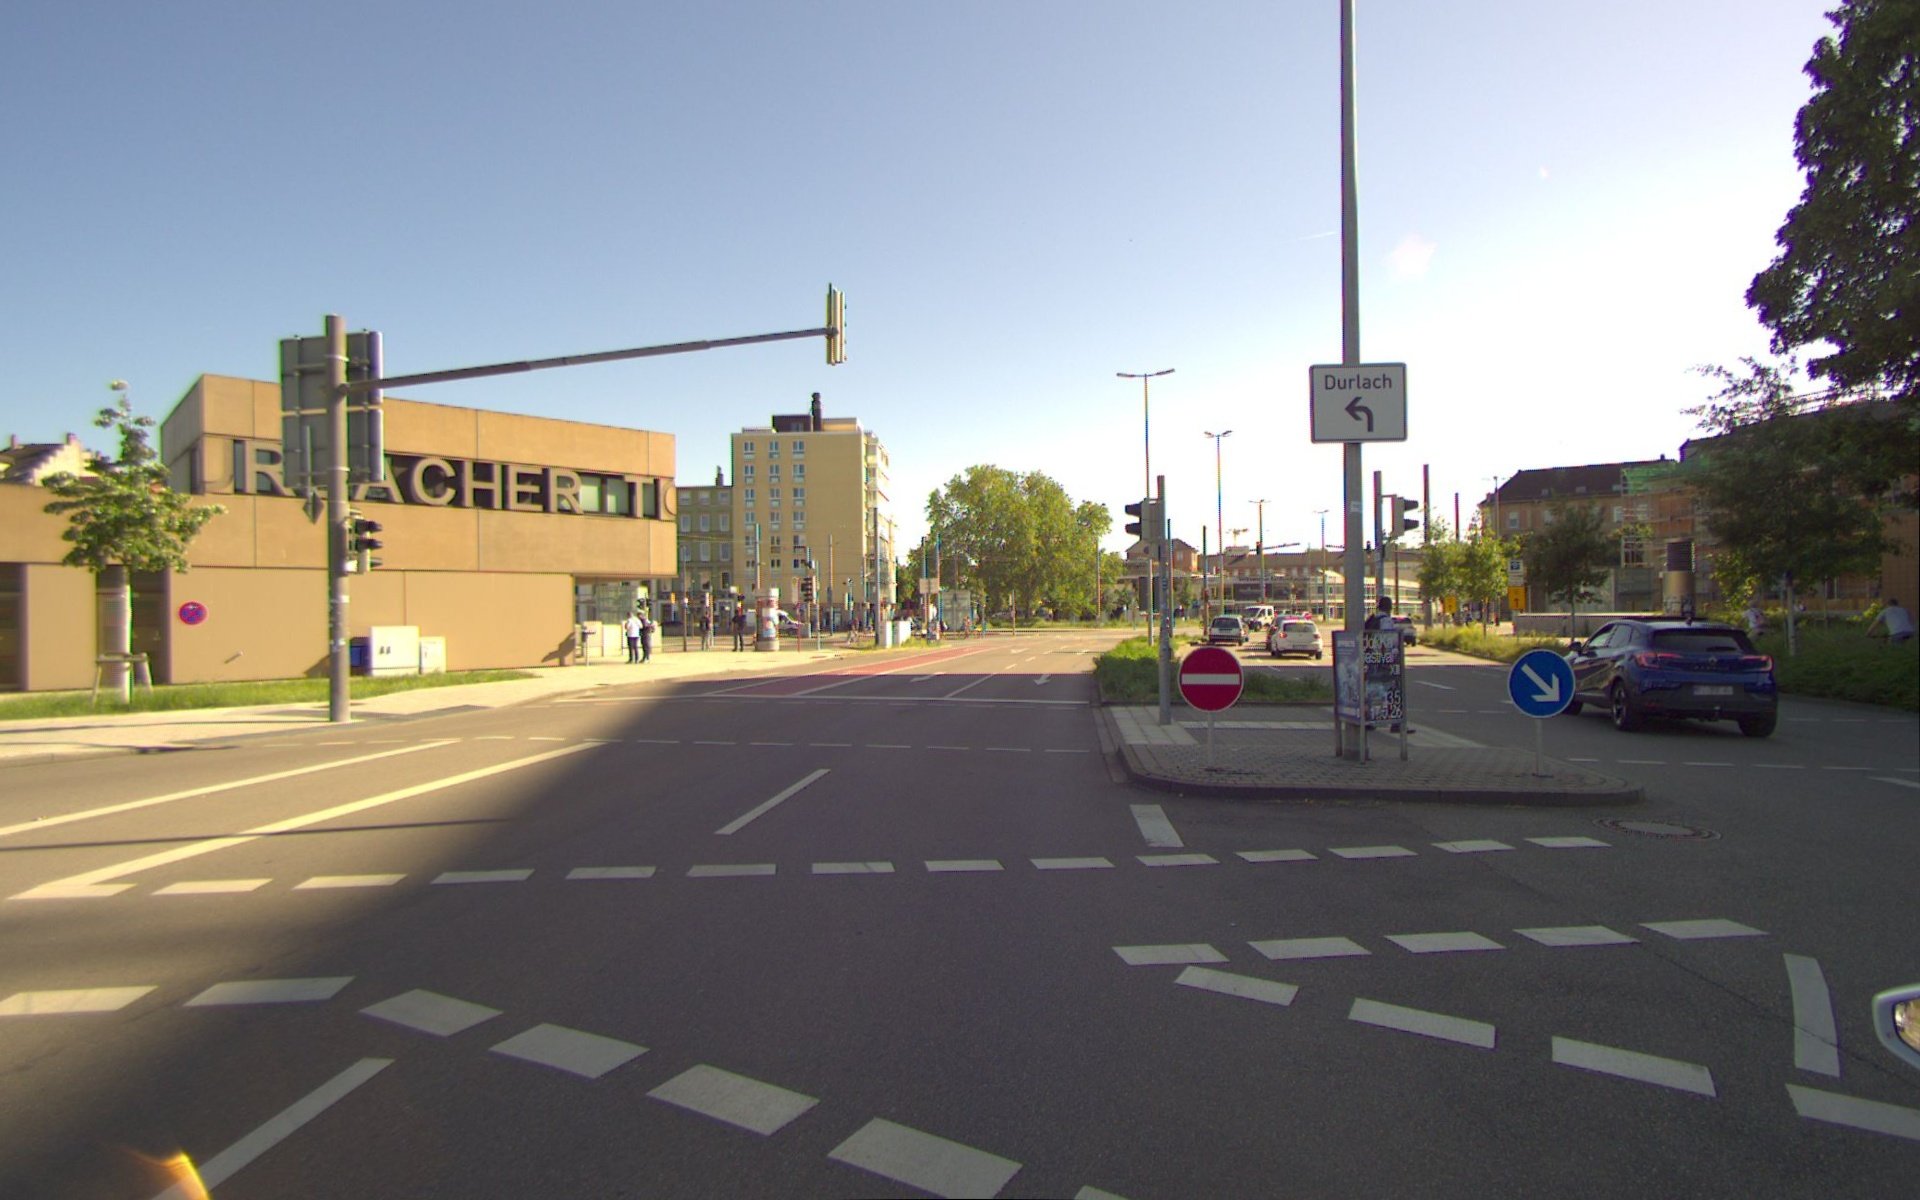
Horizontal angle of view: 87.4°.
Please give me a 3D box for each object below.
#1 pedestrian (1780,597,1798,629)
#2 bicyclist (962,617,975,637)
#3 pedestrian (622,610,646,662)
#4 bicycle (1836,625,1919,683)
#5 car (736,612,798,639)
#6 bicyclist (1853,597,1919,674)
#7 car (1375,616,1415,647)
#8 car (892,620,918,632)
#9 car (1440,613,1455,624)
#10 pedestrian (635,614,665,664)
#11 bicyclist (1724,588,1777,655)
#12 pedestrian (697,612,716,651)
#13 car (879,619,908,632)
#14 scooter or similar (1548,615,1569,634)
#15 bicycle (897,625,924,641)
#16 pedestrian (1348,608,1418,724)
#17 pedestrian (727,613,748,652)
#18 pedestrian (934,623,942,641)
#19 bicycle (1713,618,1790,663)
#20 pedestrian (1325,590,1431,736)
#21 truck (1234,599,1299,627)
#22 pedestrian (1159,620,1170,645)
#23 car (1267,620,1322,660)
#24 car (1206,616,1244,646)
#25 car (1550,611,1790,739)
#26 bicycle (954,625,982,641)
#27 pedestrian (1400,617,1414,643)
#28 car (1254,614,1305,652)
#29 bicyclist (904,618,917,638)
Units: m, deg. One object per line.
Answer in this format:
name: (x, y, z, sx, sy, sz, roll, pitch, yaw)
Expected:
pedestrian: (47.745, 0.737, 57.824, 0.777, 1.776, 0.536, 1, 2, 41)
bicyclist: (0.621, 1.989, 73.440, 0.761, 1.463, 0.643, 0, -1, 17)
pedestrian: (-11.067, 1.231, 34.080, 0.589, 1.745, 0.784, 2, -3, -31)
bicycle: (20.355, 1.165, 22.060, 0.704, 1.180, 1.871, -1, -1, 6)
car: (-18.118, 2.387, 94.546, 5.395, 2.443, 2.000, 0, -1, 1)
bicyclist: (20.343, 0.757, 21.995, 0.707, 1.638, 0.978, -1, 0, 7)
car: (23.977, 1.725, 55.499, 1.846, 1.639, 3.625, 1, -1, 21)
car: (-6.786, 3.207, 124.386, 3.209, 1.334, 1.525, -1, 2, -2)
car: (80.644, 3.063, 166.262, 1.756, 1.565, 3.629, 1, 2, 33)
pedestrian: (-10.826, 1.363, 35.089, 0.630, 1.745, 0.749, 0, -3, 19)
bicyclist: (21.689, 0.583, 27.577, 0.707, 1.786, 0.978, -1, 0, 5)
pedestrian: (-11.633, 1.460, 46.103, 0.640, 1.745, 0.784, 2, -3, -31)
car: (-7.970, 3.028, 120.200, 3.376, 1.530, 1.693, 0, -1, -1)
scooter or similar: (35.756, 1.462, 60.047, 0.459, 1.026, 1.249, -1, 2, -3)
bicycle: (-3.710, 2.424, 74.688, 1.918, 1.180, 0.643, 0, -1, 17)
pedestrian: (6.181, 0.940, 14.677, 0.713, 1.634, 0.674, 0, -1, -39)
pedestrian: (-10.049, 1.467, 45.385, 0.640, 1.765, 0.783, 2, -1, -31)
pedestrian: (-1.717, 2.521, 79.532, 0.583, 1.427, 0.569, 0, 2, 2)
bicycle: (21.692, 1.095, 27.565, 0.733, 1.180, 1.871, -1, -1, 5)
pedestrian: (5.554, 0.816, 13.358, 1.078, 1.857, 0.753, 1, -1, -17)
truck: (27.121, 1.147, 88.707, 6.828, 2.344, 2.195, 0, -1, -41)
pedestrian: (13.563, 2.136, 66.536, 0.563, 1.633, 0.568, -1, 2, -9)
car: (12.880, 1.508, 38.882, 1.662, 1.455, 3.739, -1, -1, 13)
car: (13.706, 1.560, 51.857, 1.696, 1.461, 3.800, -1, -1, 17)
car: (10.357, 1.004, 15.006, 1.845, 1.639, 3.798, -1, -1, 18)
bicycle: (0.585, 2.392, 73.452, 1.918, 1.180, 0.643, 0, -1, 17)
pedestrian: (30.180, 2.055, 67.793, 0.588, 1.745, 0.865, -2, -3, 44)
car: (14.663, 1.485, 46.325, 1.950, 1.645, 4.380, -1, -1, 14)
bicyclist: (-3.669, 2.074, 74.681, 0.761, 1.463, 0.643, 0, -1, 16)
